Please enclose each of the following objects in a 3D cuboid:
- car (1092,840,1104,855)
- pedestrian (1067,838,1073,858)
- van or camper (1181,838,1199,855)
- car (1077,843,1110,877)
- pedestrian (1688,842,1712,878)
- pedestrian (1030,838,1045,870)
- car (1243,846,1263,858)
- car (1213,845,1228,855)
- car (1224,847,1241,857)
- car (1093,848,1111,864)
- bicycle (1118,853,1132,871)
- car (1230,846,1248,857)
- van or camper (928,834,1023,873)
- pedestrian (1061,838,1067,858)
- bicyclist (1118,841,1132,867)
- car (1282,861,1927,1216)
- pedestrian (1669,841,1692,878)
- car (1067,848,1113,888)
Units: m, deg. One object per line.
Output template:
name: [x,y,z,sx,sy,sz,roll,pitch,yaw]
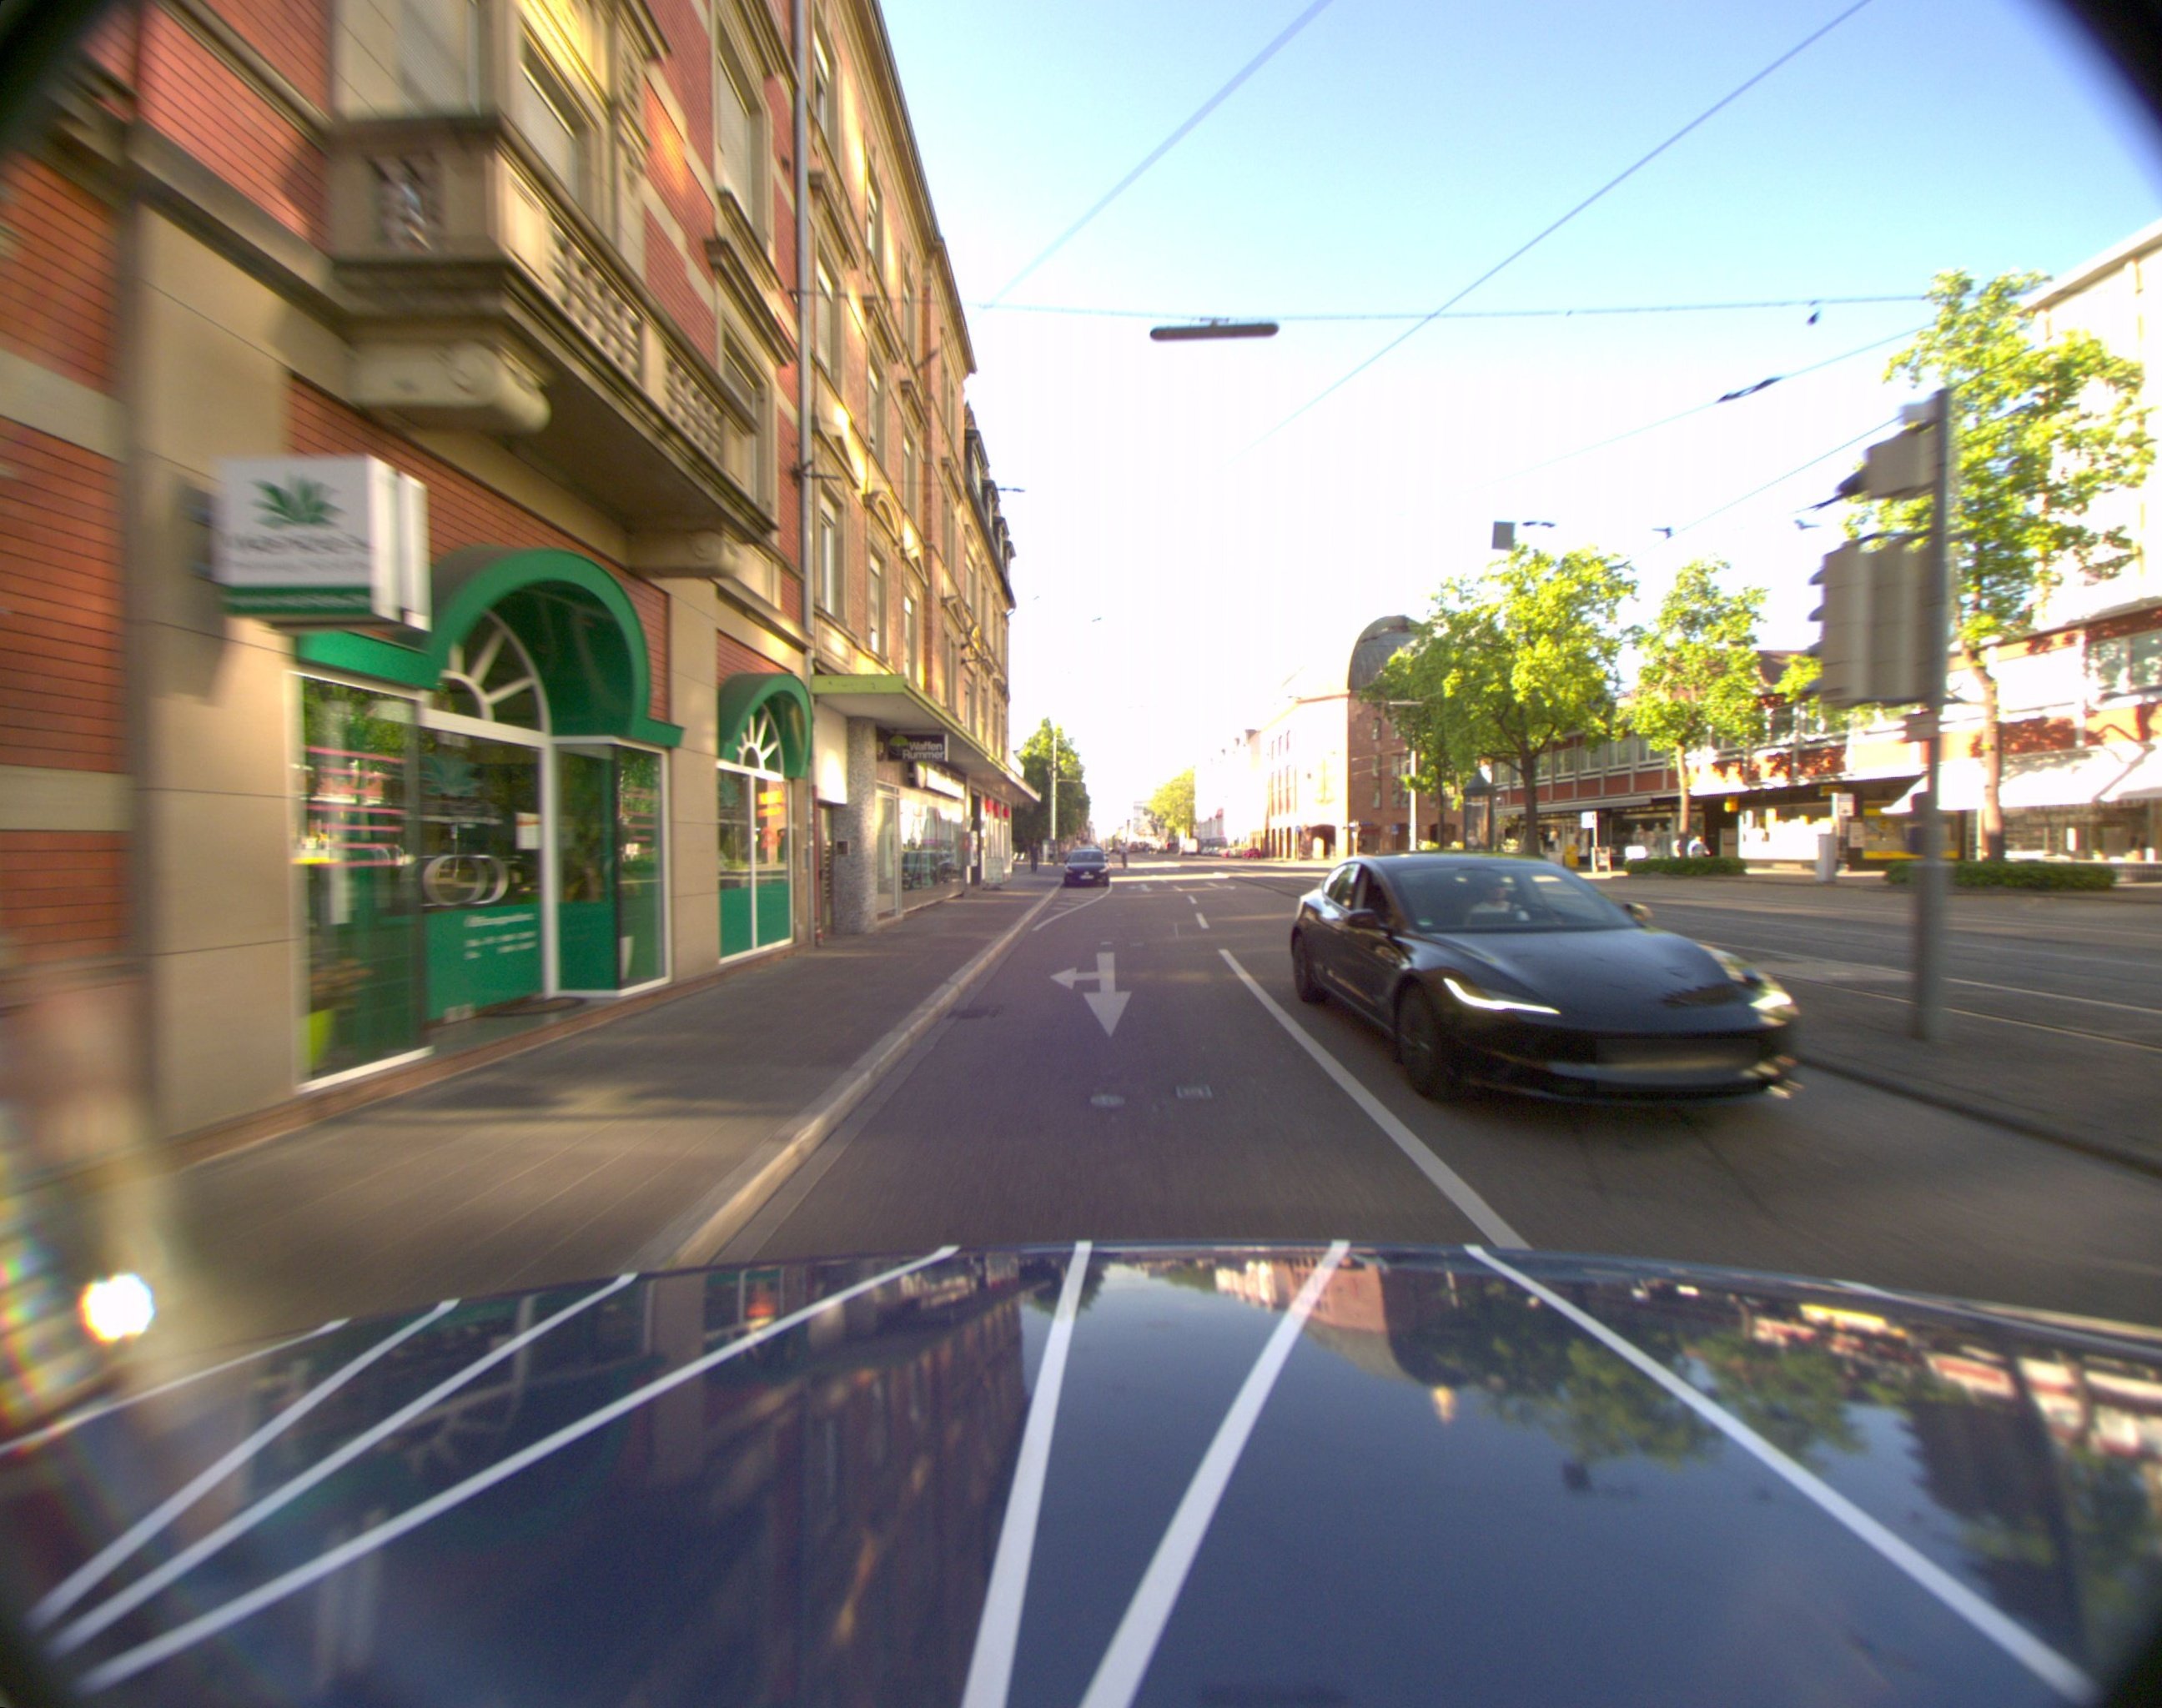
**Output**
car: [2.642,-1.046,119.110,1.733,2.038,4.114,-2,2,2]
pedestrian: [-1.122,-0.606,77.872,0.507,2.002,0.574,-2,2,2]
van or camper: [17.610,-1.234,122.681,2.041,2.723,7.020,0,1,2]
car: [0.712,0.308,42.368,1.694,1.703,4.614,-2,1,1]
pedestrian: [30.081,0.274,36.940,0.573,1.740,0.706,0,1,3]
pedestrian: [-2.663,0.006,46.203,0.685,1.901,1.063,-2,2,5]
car: [21.550,-0.235,95.463,1.753,1.445,3.471,-1,1,0]
car: [22.307,-0.679,121.695,1.855,1.445,3.853,-1,1,2]
car: [21.955,-0.298,110.334,1.855,1.346,3.853,-1,1,2]
car: [2.098,0.209,77.400,1.733,1.474,3.863,-2,1,0]
bicycle: [3.127,0.549,53.931,0.889,1.155,2.078,-2,2,2]
car: [21.877,-0.308,105.403,1.855,1.445,3.853,-1,1,2]
van or camper: [-5.674,-0.051,41.142,4.702,1.922,2.001,2,1,5]
pedestrian: [-1.730,-0.628,77.814,0.507,2.002,0.574,-2,2,2]
bicyclist: [3.124,-0.021,53.920,0.895,1.756,1.030,-2,2,2]
car: [2.871,0.849,5.446,1.815,1.415,4.153,-2,1,2]
pedestrian: [29.091,0.250,36.893,0.573,1.762,0.706,0,1,3]
car: [0.402,0.518,30.988,1.694,1.442,4.359,-2,1,2]
